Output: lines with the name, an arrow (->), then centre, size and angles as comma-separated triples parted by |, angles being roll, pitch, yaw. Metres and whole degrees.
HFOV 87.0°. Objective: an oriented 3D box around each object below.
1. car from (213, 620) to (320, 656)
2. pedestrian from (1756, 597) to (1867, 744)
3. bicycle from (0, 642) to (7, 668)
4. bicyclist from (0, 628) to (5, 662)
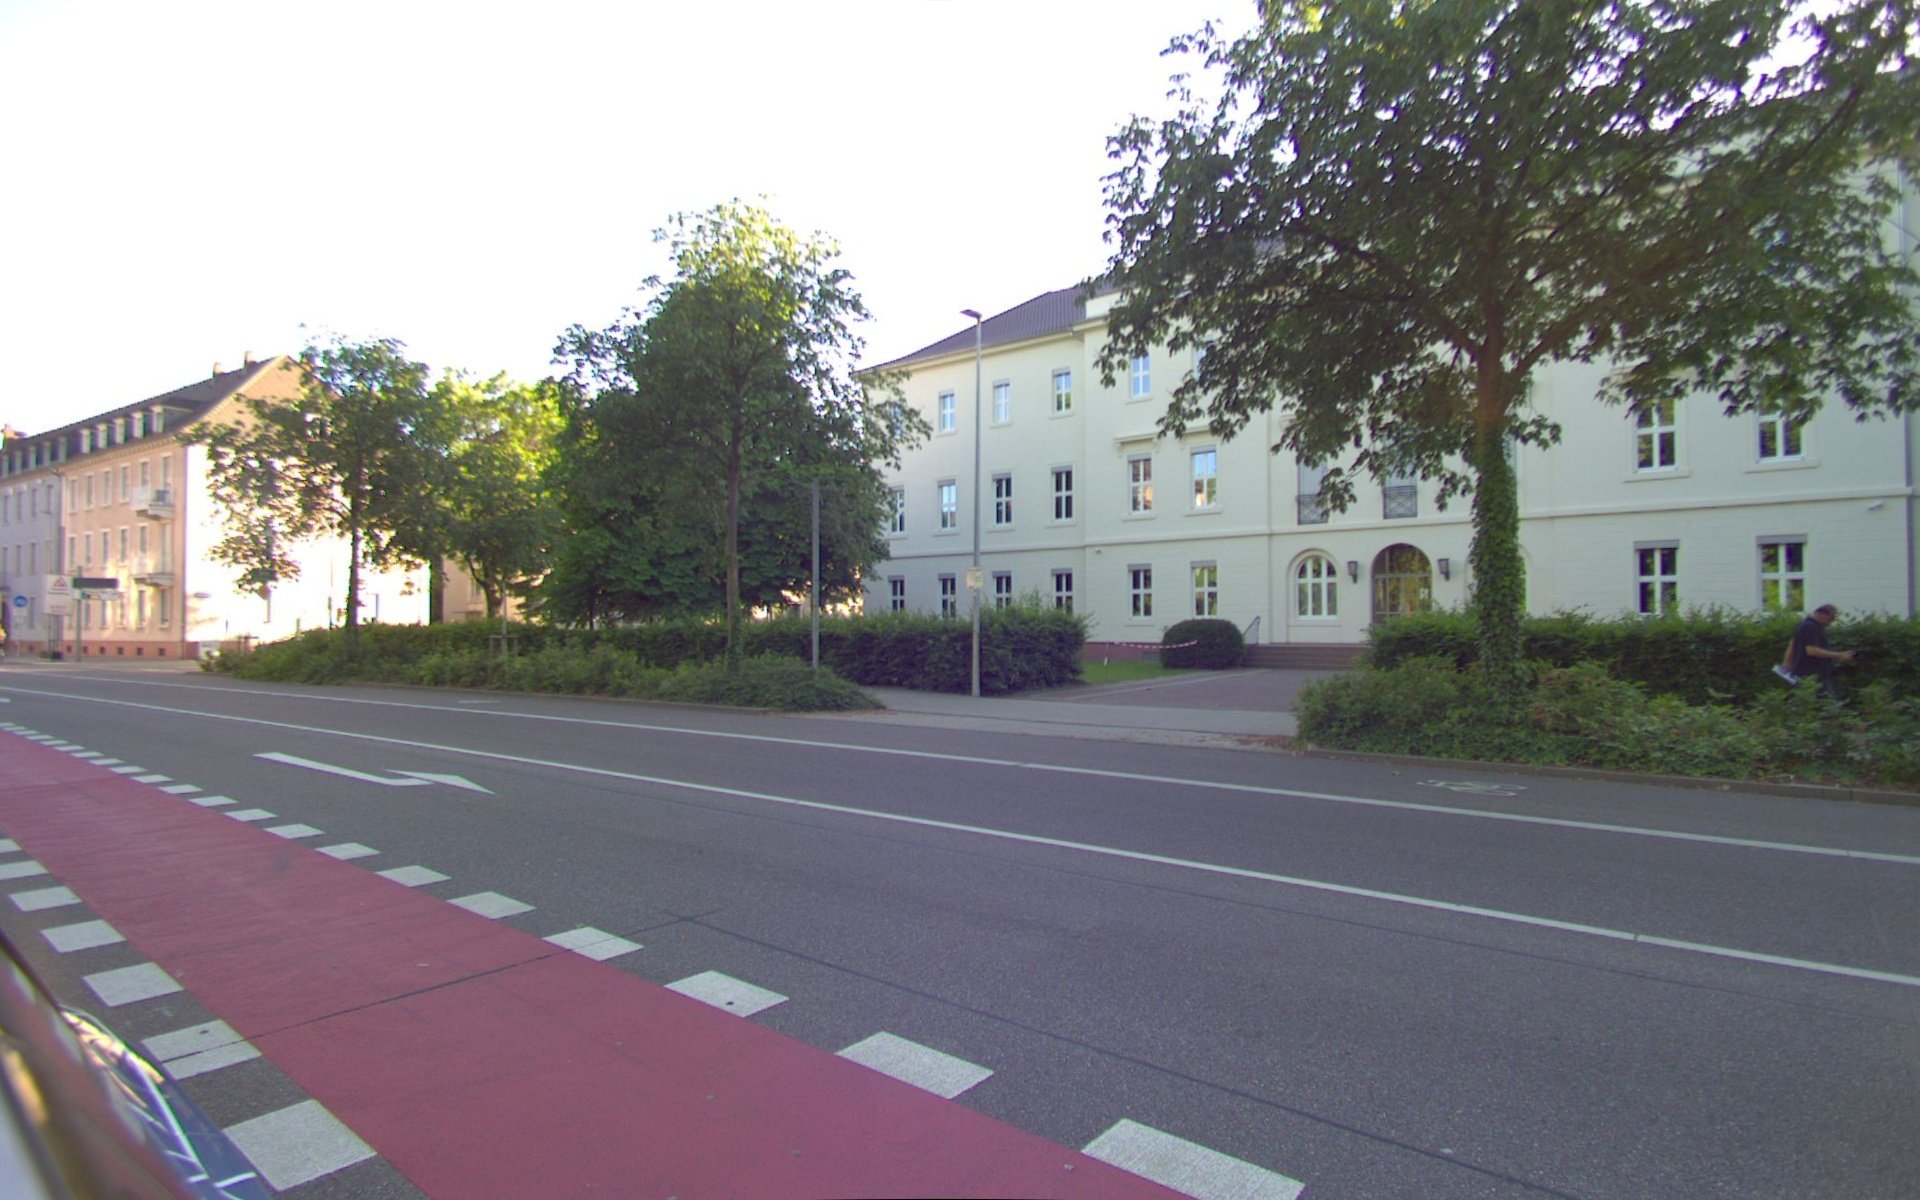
car -> -34.666, 1.883, 50.670 | 1.993, 1.674, 3.958 | -1, -1, 31
pedestrian -> 10.533, 0.851, 12.561 | 0.967, 1.733, 0.826 | -2, -3, 37
bicycle -> -44.753, 2.534, 46.732 | 2.242, 1.168, 0.688 | -2, -4, 38
bicyclist -> -44.593, 2.059, 46.634 | 0.837, 1.574, 0.683 | -2, -4, 37
